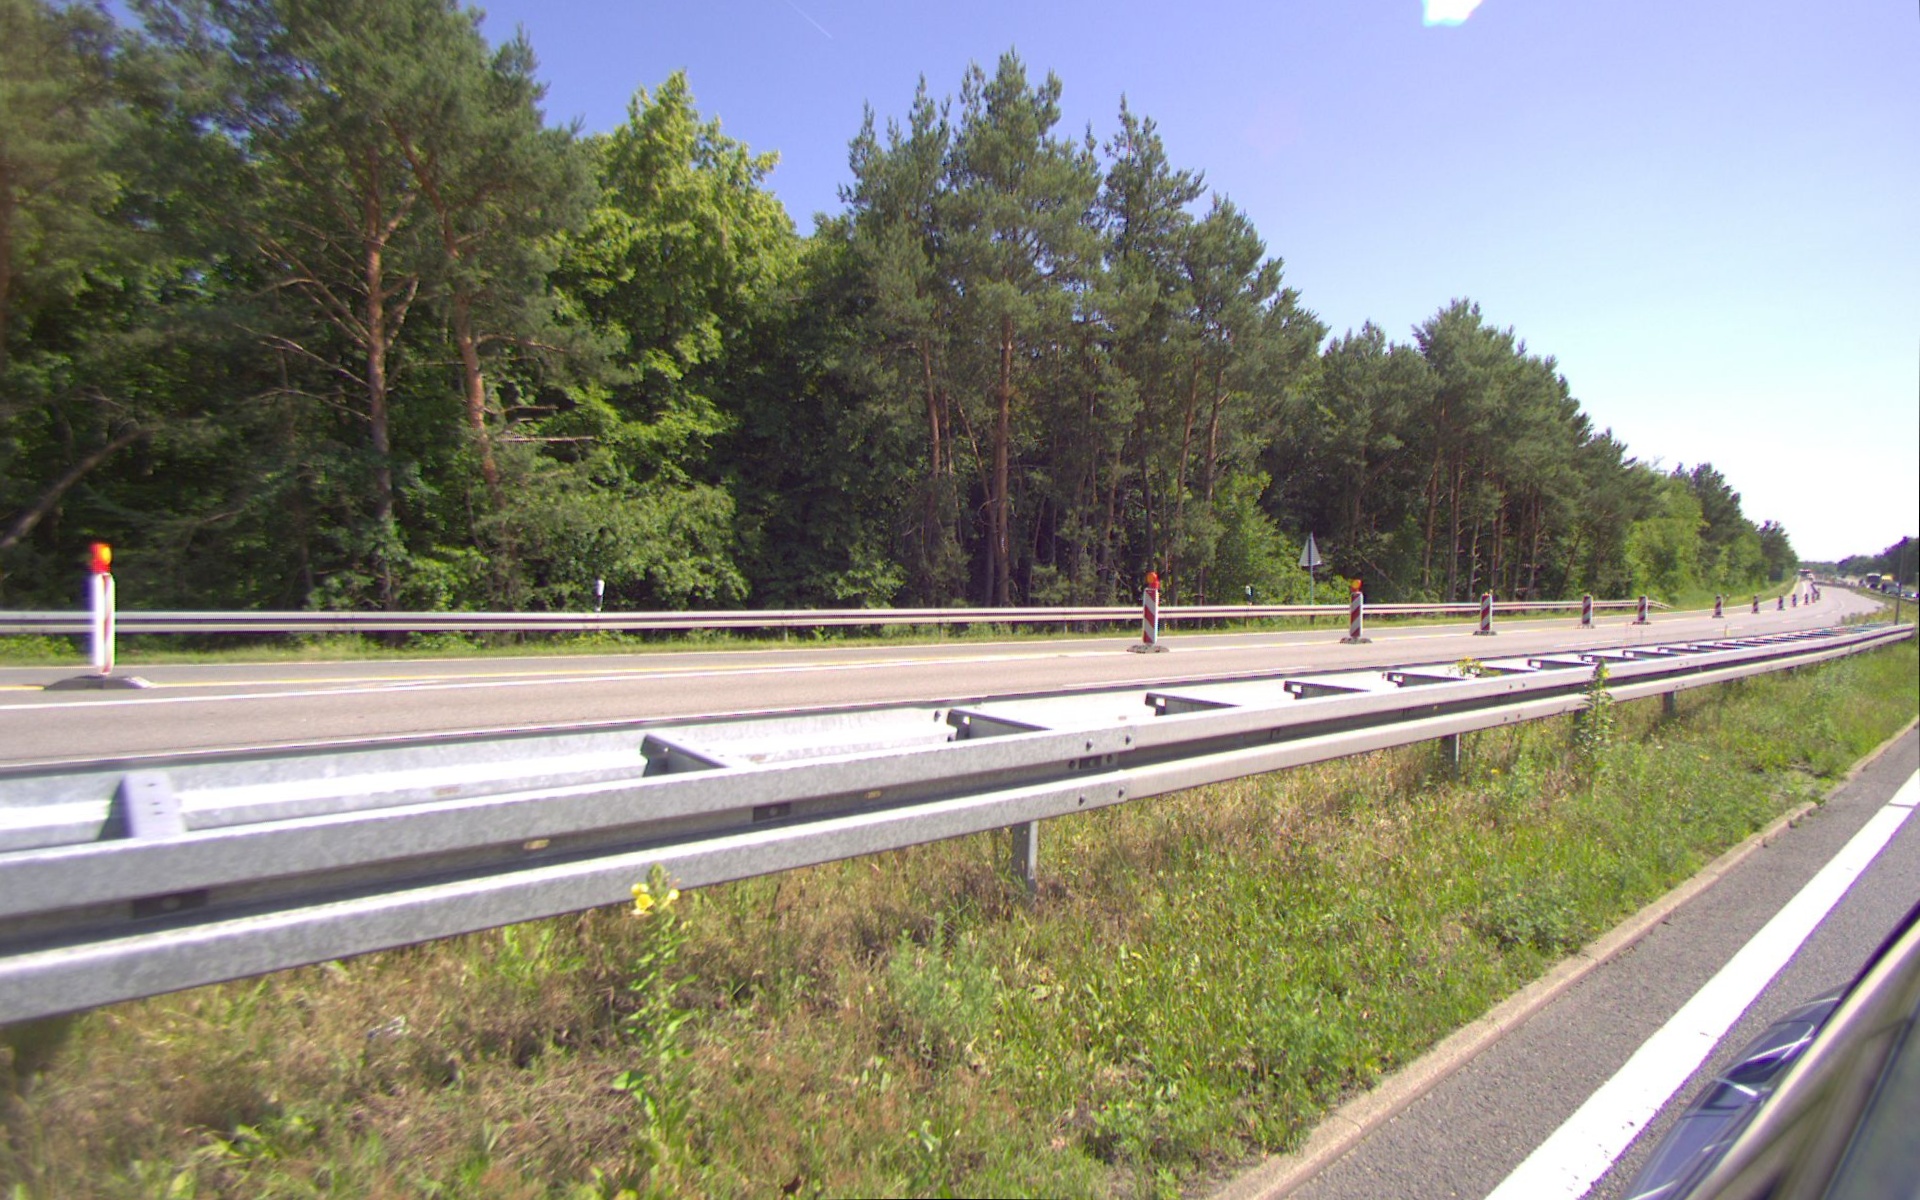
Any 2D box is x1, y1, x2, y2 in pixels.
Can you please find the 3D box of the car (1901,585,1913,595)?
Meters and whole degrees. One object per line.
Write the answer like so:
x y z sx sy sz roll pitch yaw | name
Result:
171.288 -1.797 182.999 1.523 1.677 3.919 2 1 43 | car

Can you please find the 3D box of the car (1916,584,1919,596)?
147.481 -1.511 154.885 3.914 1.677 1.524 0 1 -44 | car
